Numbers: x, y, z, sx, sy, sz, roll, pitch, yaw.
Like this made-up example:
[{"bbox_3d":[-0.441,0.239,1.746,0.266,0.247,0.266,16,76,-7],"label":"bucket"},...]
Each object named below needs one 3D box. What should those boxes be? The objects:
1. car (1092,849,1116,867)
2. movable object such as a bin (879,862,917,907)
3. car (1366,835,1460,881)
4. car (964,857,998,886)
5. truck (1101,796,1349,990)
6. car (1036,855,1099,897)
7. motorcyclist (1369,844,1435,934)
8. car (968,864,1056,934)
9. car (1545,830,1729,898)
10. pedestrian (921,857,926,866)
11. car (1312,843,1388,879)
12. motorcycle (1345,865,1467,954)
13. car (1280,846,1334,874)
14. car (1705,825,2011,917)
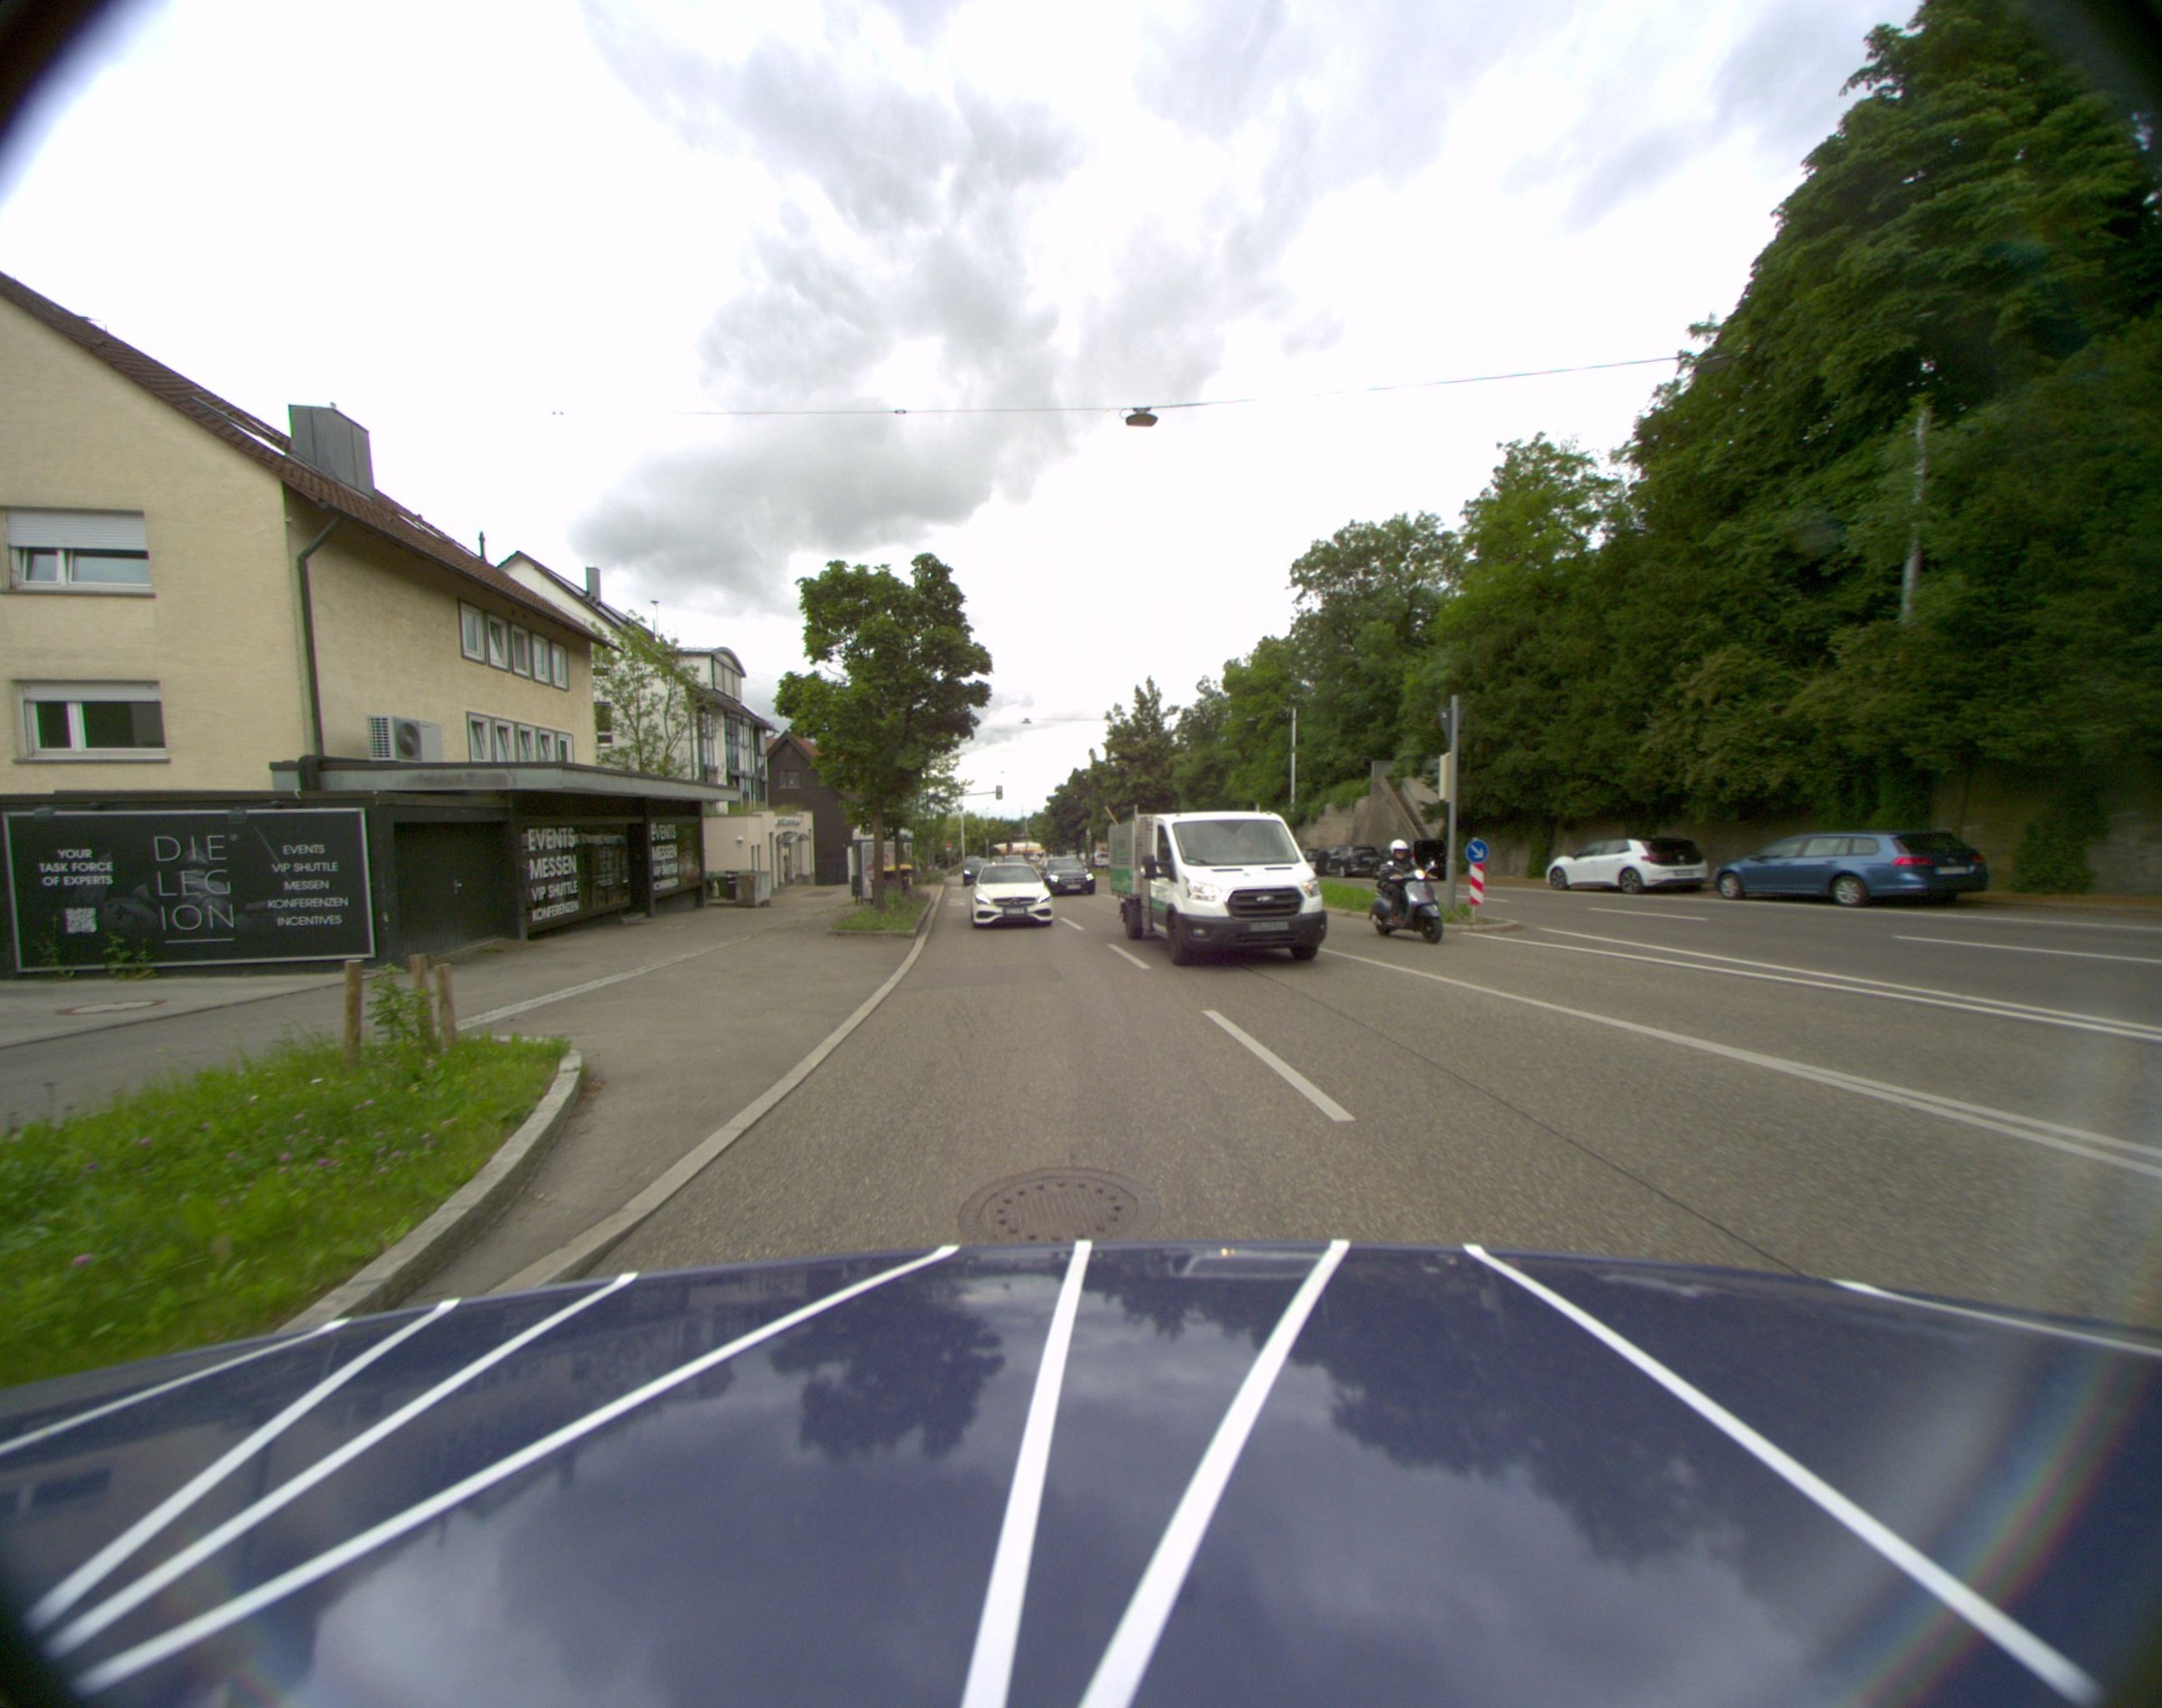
[{"bbox_3d":[2.679,0.481,89.076,1.945,1.946,5.018,-2,0,-8],"label":"car"},{"bbox_3d":[-6.305,1.040,26.273,1.089,1.473,1.535,-2,0,-8],"label":"movable object such as a bin"},{"bbox_3d":[14.446,0.181,33.362,1.785,1.832,4.486,-3,0,-6],"label":"car"},{"bbox_3d":[-5.900,1.022,44.555,1.779,1.532,3.997,-3,0,-9],"label":"car"},{"bbox_3d":[1.886,0.443,12.498,2.082,2.308,6.327,-2,1,-7],"label":"truck"},{"bbox_3d":[-0.627,0.830,30.160,1.917,1.472,4.397,-3,0,-8],"label":"car"},{"bbox_3d":[5.265,0.554,12.490,0.684,1.410,0.722,-2,0,-9],"label":"motorcyclist"},{"bbox_3d":[-1.719,0.985,18.207,1.818,1.390,3.997,-2,0,-8],"label":"car"},{"bbox_3d":[15.235,0.264,21.148,1.785,1.619,4.168,-3,0,-5],"label":"car"},{"bbox_3d":[-28.792,1.371,138.846,0.714,1.462,0.694,-3,0,-10],"label":"pedestrian"},{"bbox_3d":[13.715,0.316,39.021,1.975,1.647,4.530,-3,0,-5],"label":"car"},{"bbox_3d":[5.271,0.846,12.491,0.830,1.291,2.044,-2,0,-10],"label":"motorcycle"},{"bbox_3d":[13.211,0.365,44.493,1.786,1.489,3.095,-3,0,-10],"label":"car"},{"bbox_3d":[15.324,0.303,15.407,1.716,1.519,4.301,-3,0,-1],"label":"car"}]
